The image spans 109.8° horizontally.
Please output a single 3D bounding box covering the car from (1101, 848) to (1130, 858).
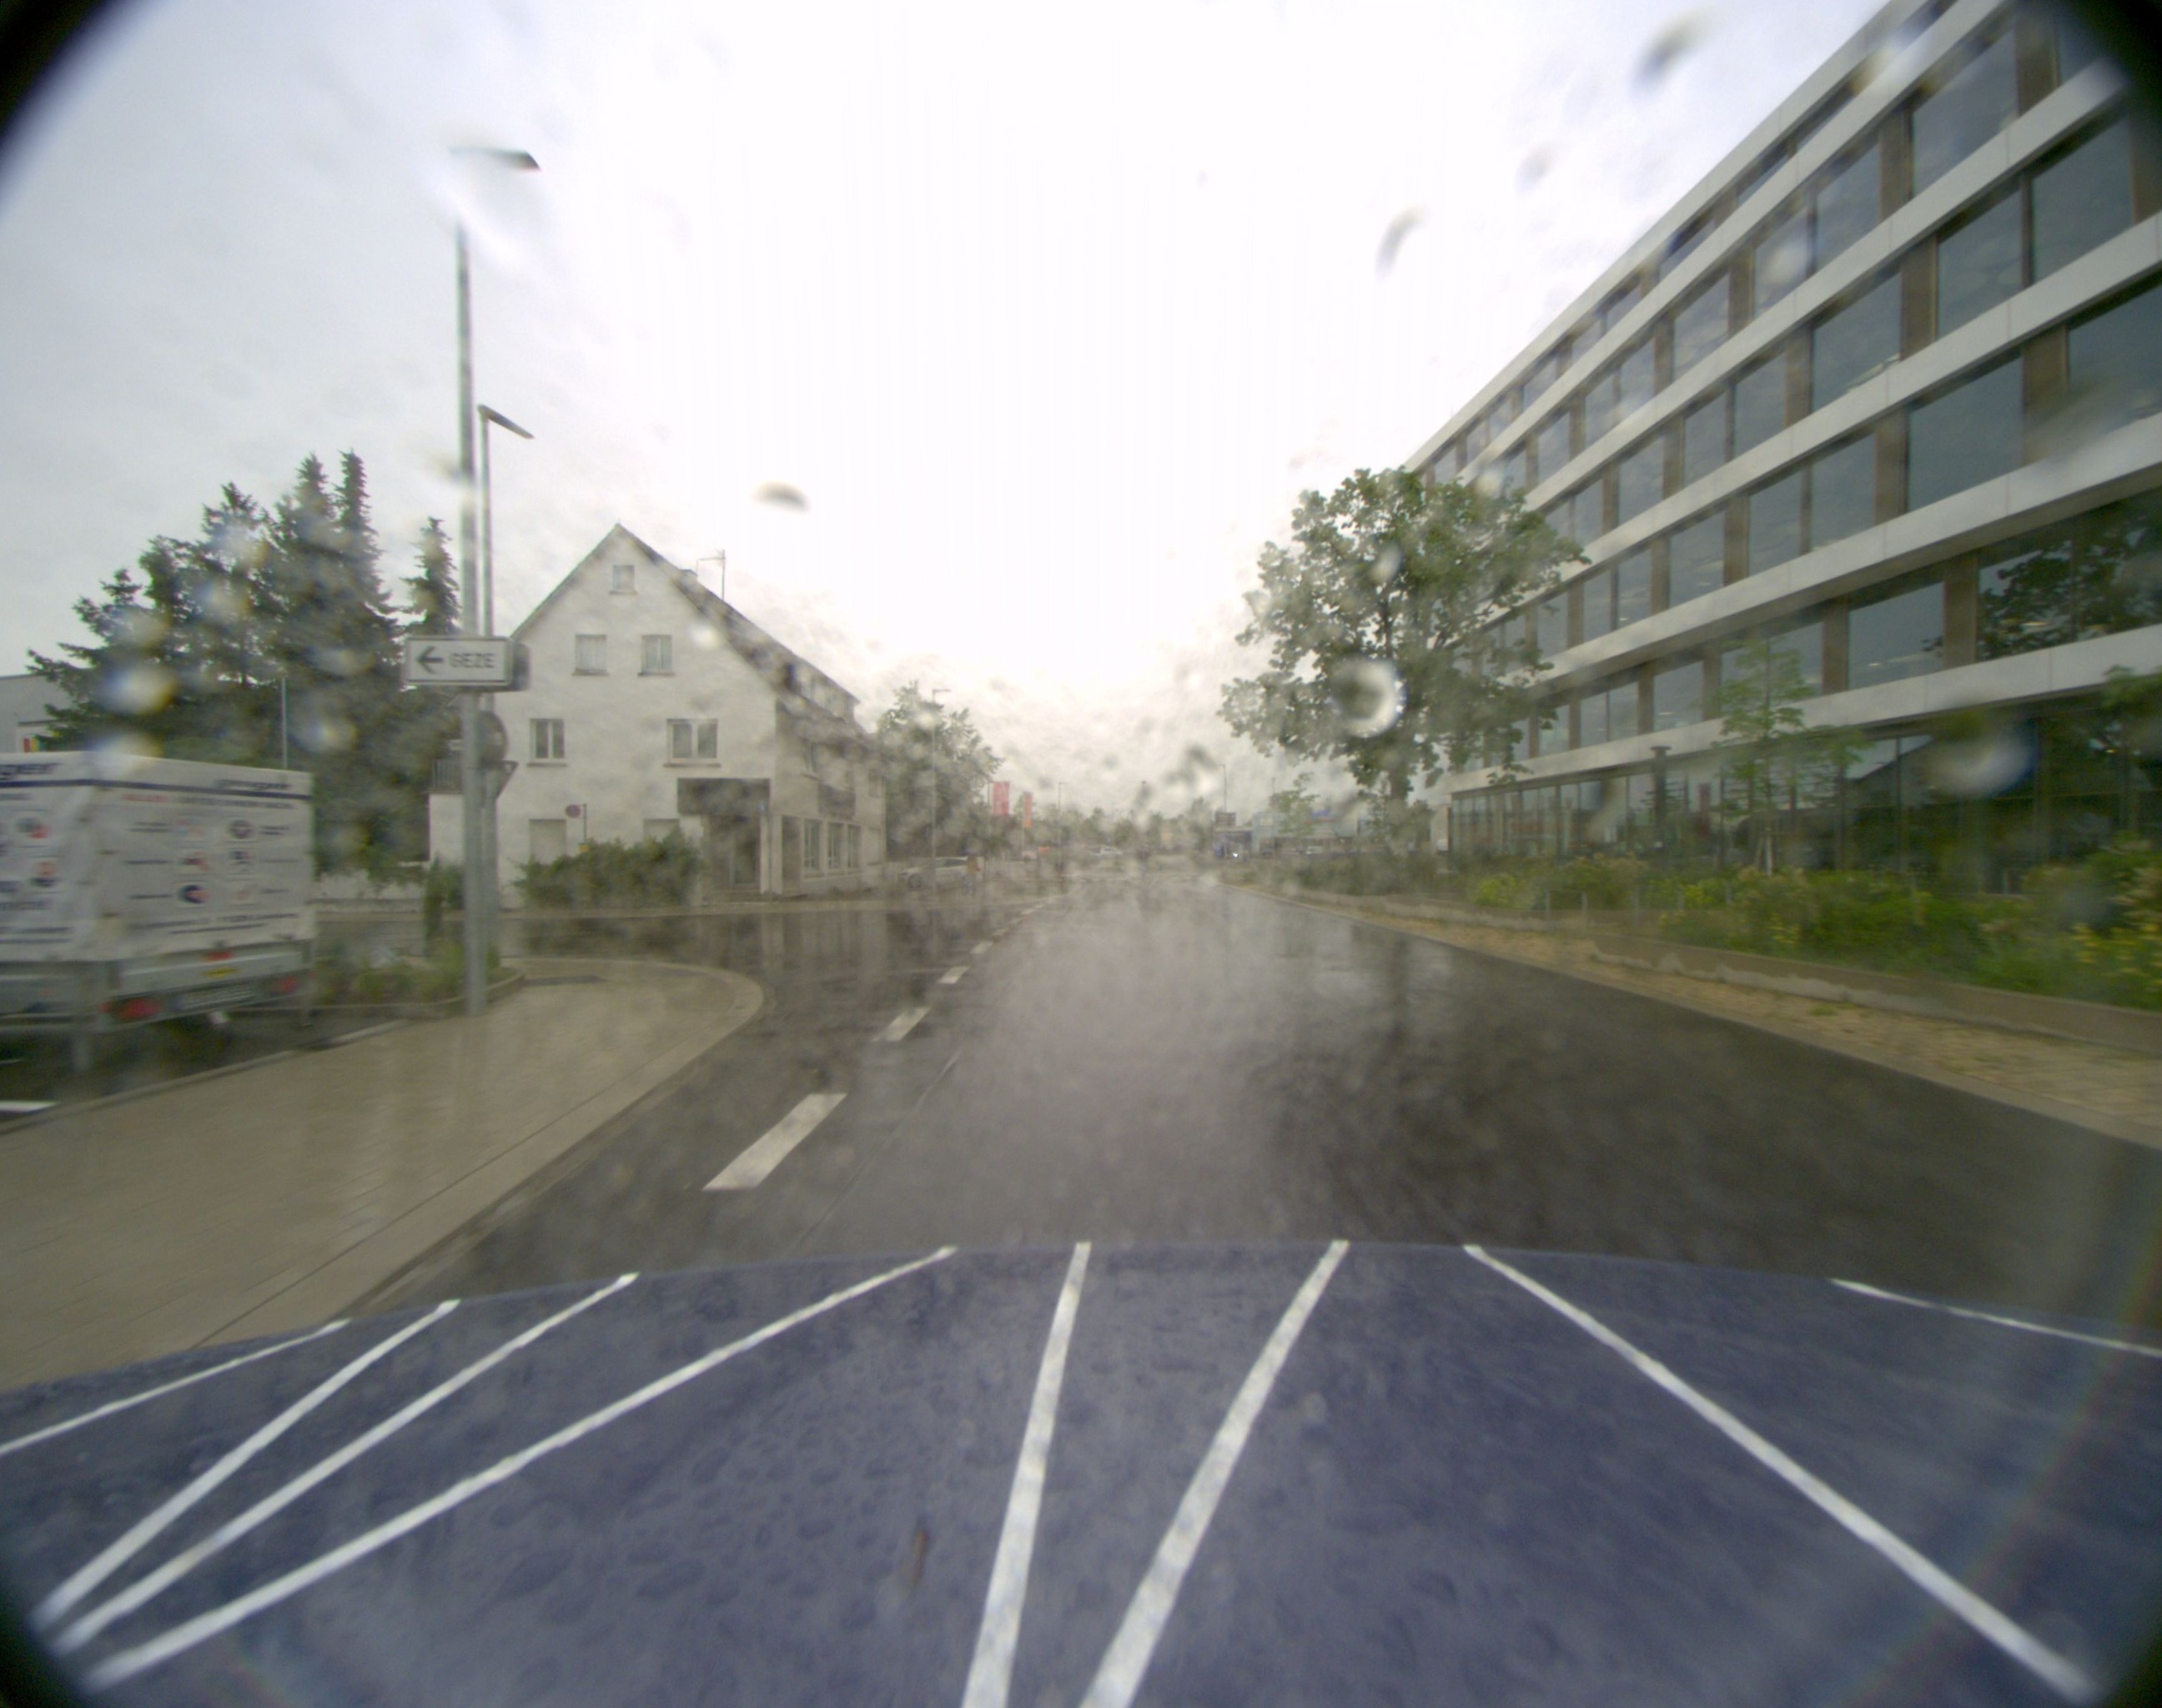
[{"bbox_3d":[5.403,-0.154,117.821,3.990,1.433,2.004,-1,0,25],"label":"car"}]

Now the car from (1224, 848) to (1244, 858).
[{"bbox_3d":[23.303,-0.142,115.373,1.917,1.521,4.007,-2,-1,26],"label":"car"}]

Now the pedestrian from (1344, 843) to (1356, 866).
[{"bbox_3d":[23.937,0.024,67.565,0.891,2.002,0.933,-1,0,28],"label":"pedestrian"}]

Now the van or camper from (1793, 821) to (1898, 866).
[{"bbox_3d":[56.763,-0.727,56.538,5.090,3.069,2.003,-2,0,21],"label":"van or camper"}]

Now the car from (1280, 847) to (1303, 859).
[{"bbox_3d":[24.702,-0.115,89.122,1.883,1.288,4.006,-3,-1,24],"label":"car"}]

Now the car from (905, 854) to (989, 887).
[{"bbox_3d":[-7.062,0.863,39.886,4.144,1.571,1.997,2,0,-14],"label":"car"}]

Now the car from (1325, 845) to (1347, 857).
[{"bbox_3d":[29.401,-0.386,87.499,1.883,1.288,4.006,-3,-1,24],"label":"car"}]

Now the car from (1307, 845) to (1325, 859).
[{"bbox_3d":[27.428,-0.244,88.603,1.790,1.543,4.006,-1,0,21],"label":"car"}]

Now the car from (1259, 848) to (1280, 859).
[{"bbox_3d":[25.483,-0.097,102.633,1.883,1.288,4.006,-3,-1,24],"label":"car"}]

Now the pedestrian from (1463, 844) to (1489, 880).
[{"bbox_3d":[19.825,0.388,38.145,0.726,1.694,0.956,-4,2,3],"label":"pedestrian"}]

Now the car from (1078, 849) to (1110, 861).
[{"bbox_3d":[1.837,0.186,108.360,4.095,1.696,2.004,-1,0,28],"label":"car"}]

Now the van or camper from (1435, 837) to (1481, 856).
[{"bbox_3d":[41.628,-0.835,84.026,4.372,1.750,1.891,-3,0,24],"label":"van or camper"}]

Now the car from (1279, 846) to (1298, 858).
[{"bbox_3d":[27.939,-0.336,102.257,1.883,1.477,4.006,-3,-1,24],"label":"car"}]

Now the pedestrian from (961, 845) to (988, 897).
[{"bbox_3d":[-4.225,0.662,30.201,0.861,2.002,1.195,2,0,-2],"label":"pedestrian"}]

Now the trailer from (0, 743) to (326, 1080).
[{"bbox_3d":[-7.767,0.380,5.680,2.708,2.159,1.548,0,0,2],"label":"trailer"}]
